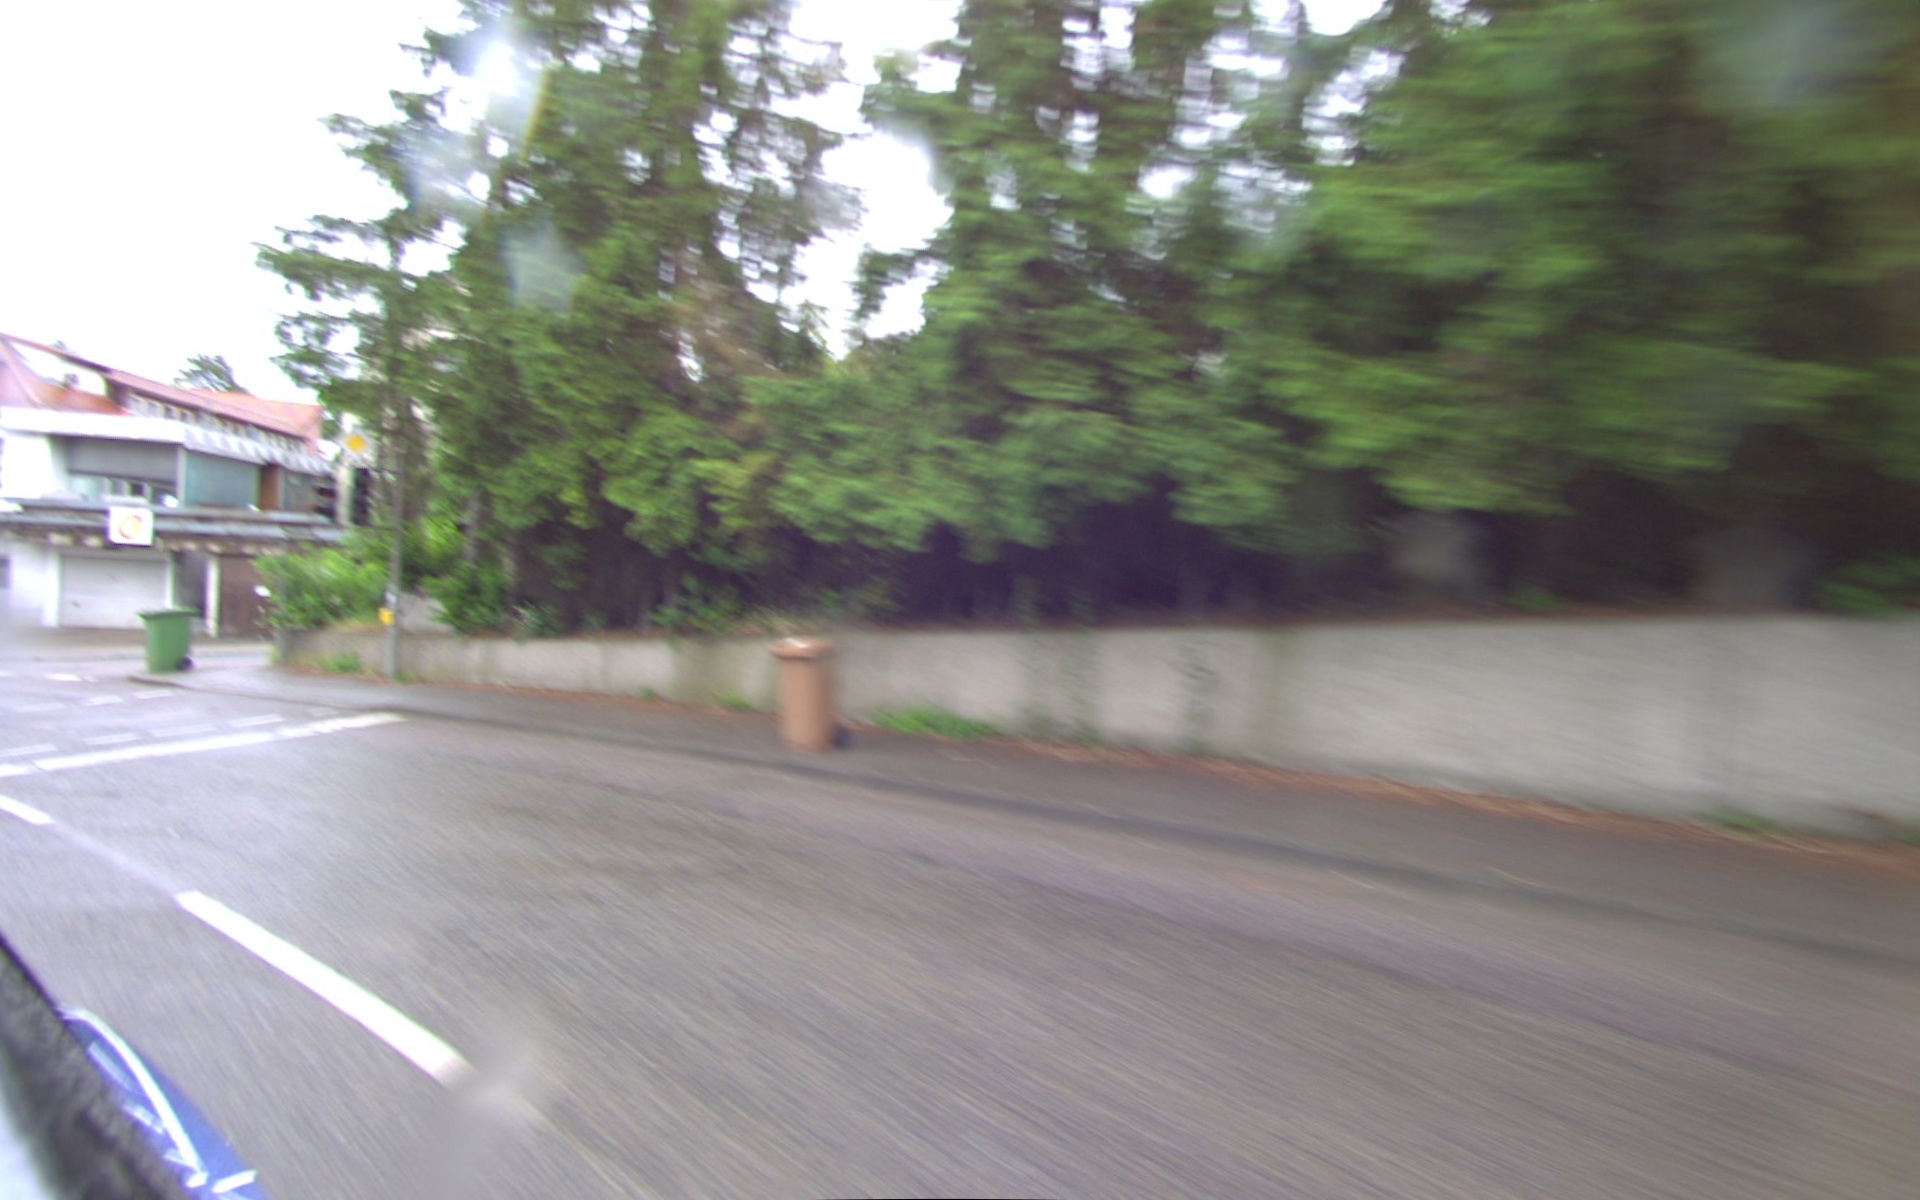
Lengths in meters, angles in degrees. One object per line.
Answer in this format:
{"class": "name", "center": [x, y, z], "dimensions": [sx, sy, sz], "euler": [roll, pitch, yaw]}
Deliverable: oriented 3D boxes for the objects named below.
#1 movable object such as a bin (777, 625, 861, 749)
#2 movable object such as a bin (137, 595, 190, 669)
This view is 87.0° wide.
{"class": "movable object such as a bin", "center": [-1.209, 0.725, 8.701], "dimensions": [0.489, 0.986, 0.495], "euler": [0, 2, 39]}
{"class": "movable object such as a bin", "center": [-13.267, 0.517, 16.857], "dimensions": [0.616, 1.148, 0.669], "euler": [-2, 4, -42]}
